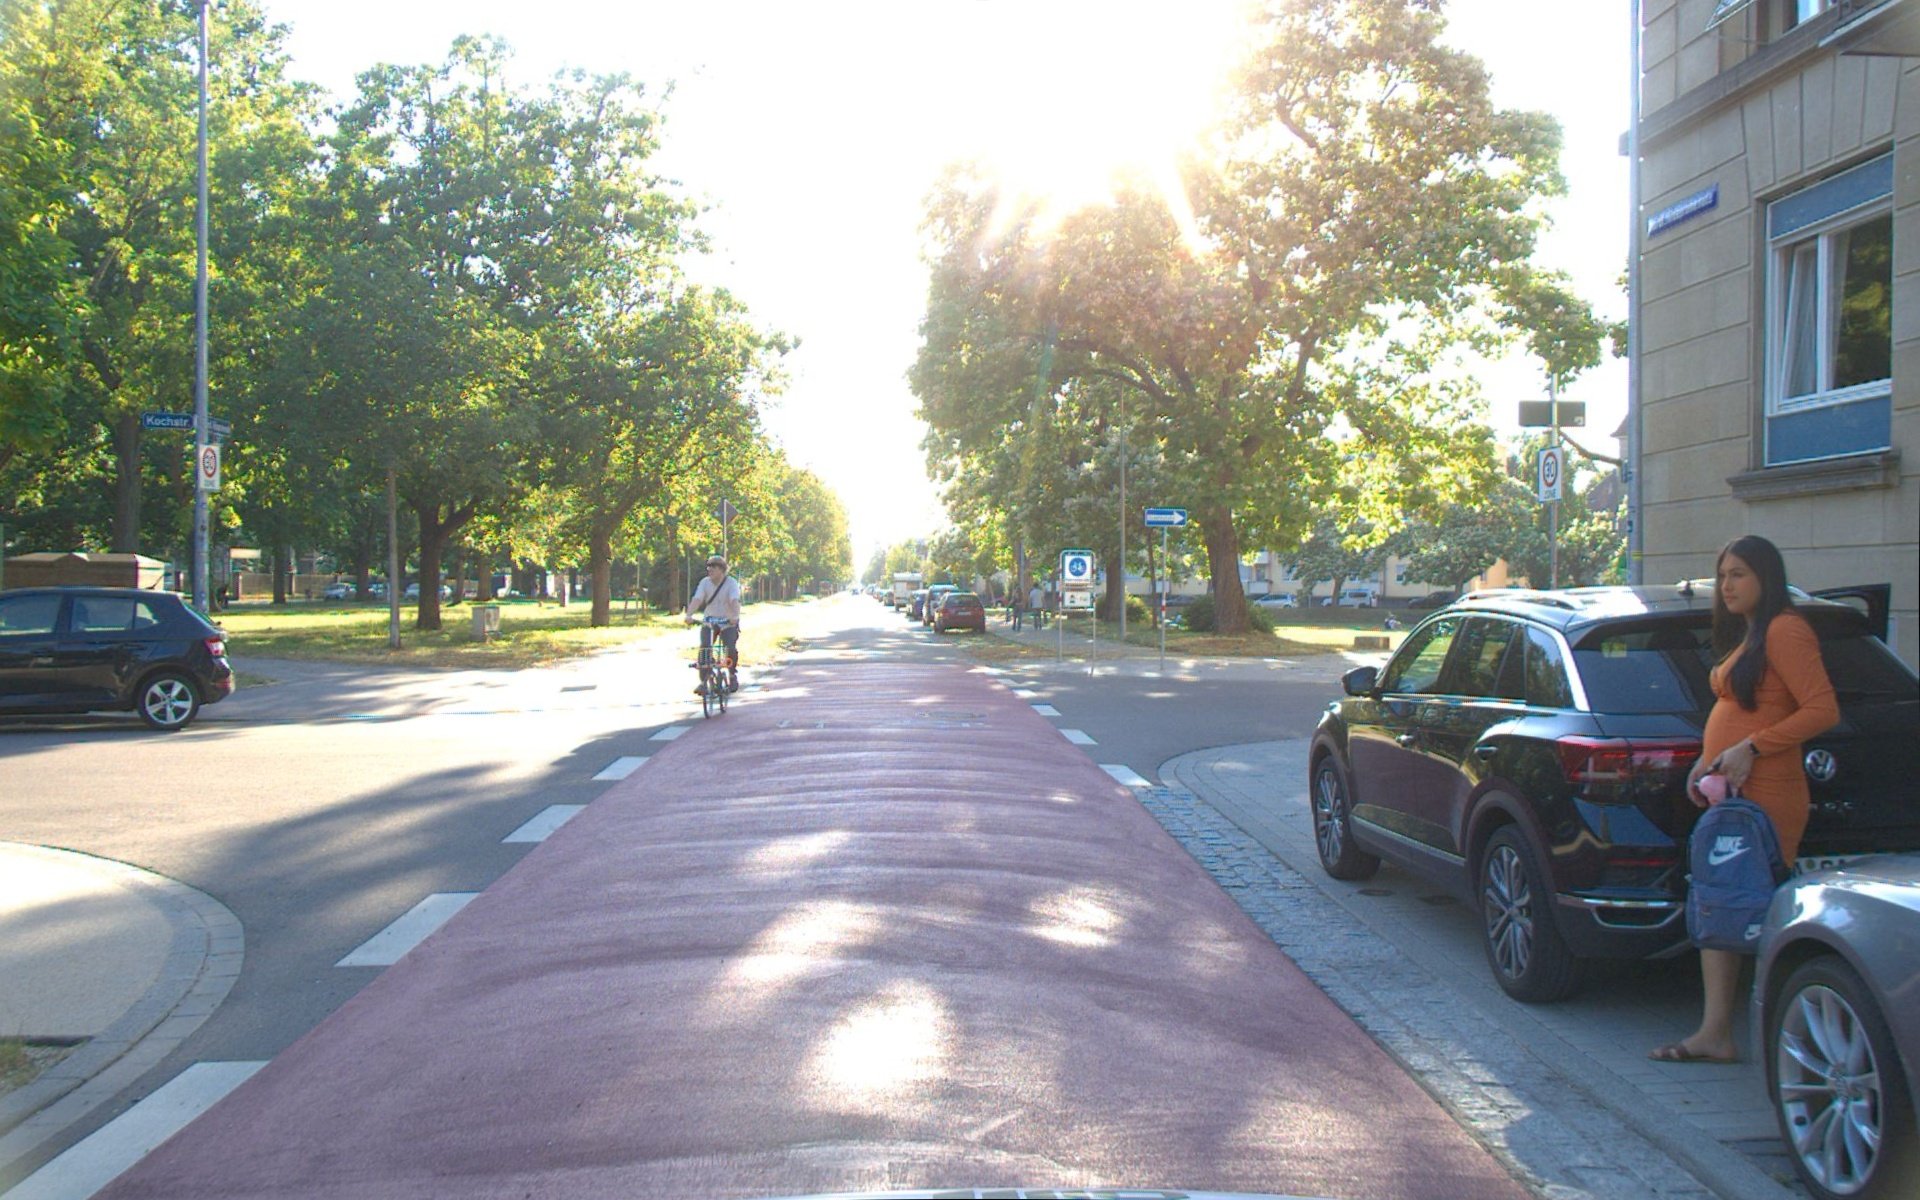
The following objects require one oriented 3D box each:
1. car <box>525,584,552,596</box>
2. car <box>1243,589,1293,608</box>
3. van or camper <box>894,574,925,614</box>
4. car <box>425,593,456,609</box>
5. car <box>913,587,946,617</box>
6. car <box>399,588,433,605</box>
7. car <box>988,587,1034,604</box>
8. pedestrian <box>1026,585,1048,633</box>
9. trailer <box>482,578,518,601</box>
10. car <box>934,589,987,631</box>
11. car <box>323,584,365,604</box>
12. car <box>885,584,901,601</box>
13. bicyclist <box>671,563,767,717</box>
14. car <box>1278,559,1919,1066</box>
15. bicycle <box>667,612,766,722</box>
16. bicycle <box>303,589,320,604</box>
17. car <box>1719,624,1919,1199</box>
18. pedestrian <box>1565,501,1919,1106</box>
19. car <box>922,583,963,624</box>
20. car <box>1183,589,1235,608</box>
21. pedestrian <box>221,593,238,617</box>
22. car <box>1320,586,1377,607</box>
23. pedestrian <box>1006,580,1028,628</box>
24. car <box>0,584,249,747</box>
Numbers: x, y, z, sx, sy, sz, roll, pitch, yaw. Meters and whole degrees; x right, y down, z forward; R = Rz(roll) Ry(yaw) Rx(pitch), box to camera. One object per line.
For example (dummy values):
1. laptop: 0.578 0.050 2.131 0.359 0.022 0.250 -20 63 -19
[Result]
1. car: -55.231 -1.262 216.838 2.457 1.534 4.910 0 0 -3
2. car: 25.948 -0.131 139.416 3.907 1.579 1.610 0 0 24
3. van or camper: -3.938 -0.453 128.236 2.190 2.955 5.668 0 -1 -4
4. car: -50.661 0.077 161.391 1.954 1.534 4.113 0 0 -3
5. car: -1.708 0.120 90.668 1.697 1.578 4.273 0 0 -3
6. car: -50.051 -0.281 152.319 1.954 1.534 4.113 0 0 -3
7. car: 4.626 -0.420 150.608 4.108 1.557 2.000 0 0 0
8. pedestrian: 2.825 0.332 60.987 0.711 1.766 0.731 1 0 -3
9. trailer: -51.830 -1.142 186.415 2.410 2.532 7.045 0 0 -3
10. car: -0.028 0.355 61.209 1.645 1.512 4.806 0 0 -4
11. car: -48.639 -0.441 130.640 1.954 1.534 3.998 0 0 -3
12. car: -6.860 -0.724 169.293 1.594 1.698 4.246 0 0 -4
13. bicyclist: -2.769 0.445 19.069 0.918 1.732 0.906 0 0 3
14. car: 2.890 0.670 7.803 1.669 1.654 4.346 -2 1 -3
15. bicycle: -2.769 0.733 19.017 0.722 1.155 2.105 0 0 3
16. bicycle: -50.562 -0.269 128.944 0.644 1.196 2.330 0 0 -6
17. car: 3.049 0.780 2.549 1.668 1.445 4.347 -2 0 -1
18. pedestrian: 2.592 0.610 5.347 0.933 1.800 0.778 1 0 -5
19. car: -0.824 0.153 75.282 1.645 1.770 4.510 0 0 -4
20. car: 22.264 -0.141 147.674 4.415 1.597 1.882 0 0 15
21. pedestrian: -31.184 0.225 70.599 0.538 1.004 0.608 0 0 -13
22. car: 33.423 -0.290 142.342 4.429 1.776 1.876 0 0 32
23. pedestrian: 2.102 0.151 60.941 0.738 1.766 0.731 1 0 -3
24. car: -9.604 0.663 17.180 3.942 1.602 1.873 1 -2 -29
